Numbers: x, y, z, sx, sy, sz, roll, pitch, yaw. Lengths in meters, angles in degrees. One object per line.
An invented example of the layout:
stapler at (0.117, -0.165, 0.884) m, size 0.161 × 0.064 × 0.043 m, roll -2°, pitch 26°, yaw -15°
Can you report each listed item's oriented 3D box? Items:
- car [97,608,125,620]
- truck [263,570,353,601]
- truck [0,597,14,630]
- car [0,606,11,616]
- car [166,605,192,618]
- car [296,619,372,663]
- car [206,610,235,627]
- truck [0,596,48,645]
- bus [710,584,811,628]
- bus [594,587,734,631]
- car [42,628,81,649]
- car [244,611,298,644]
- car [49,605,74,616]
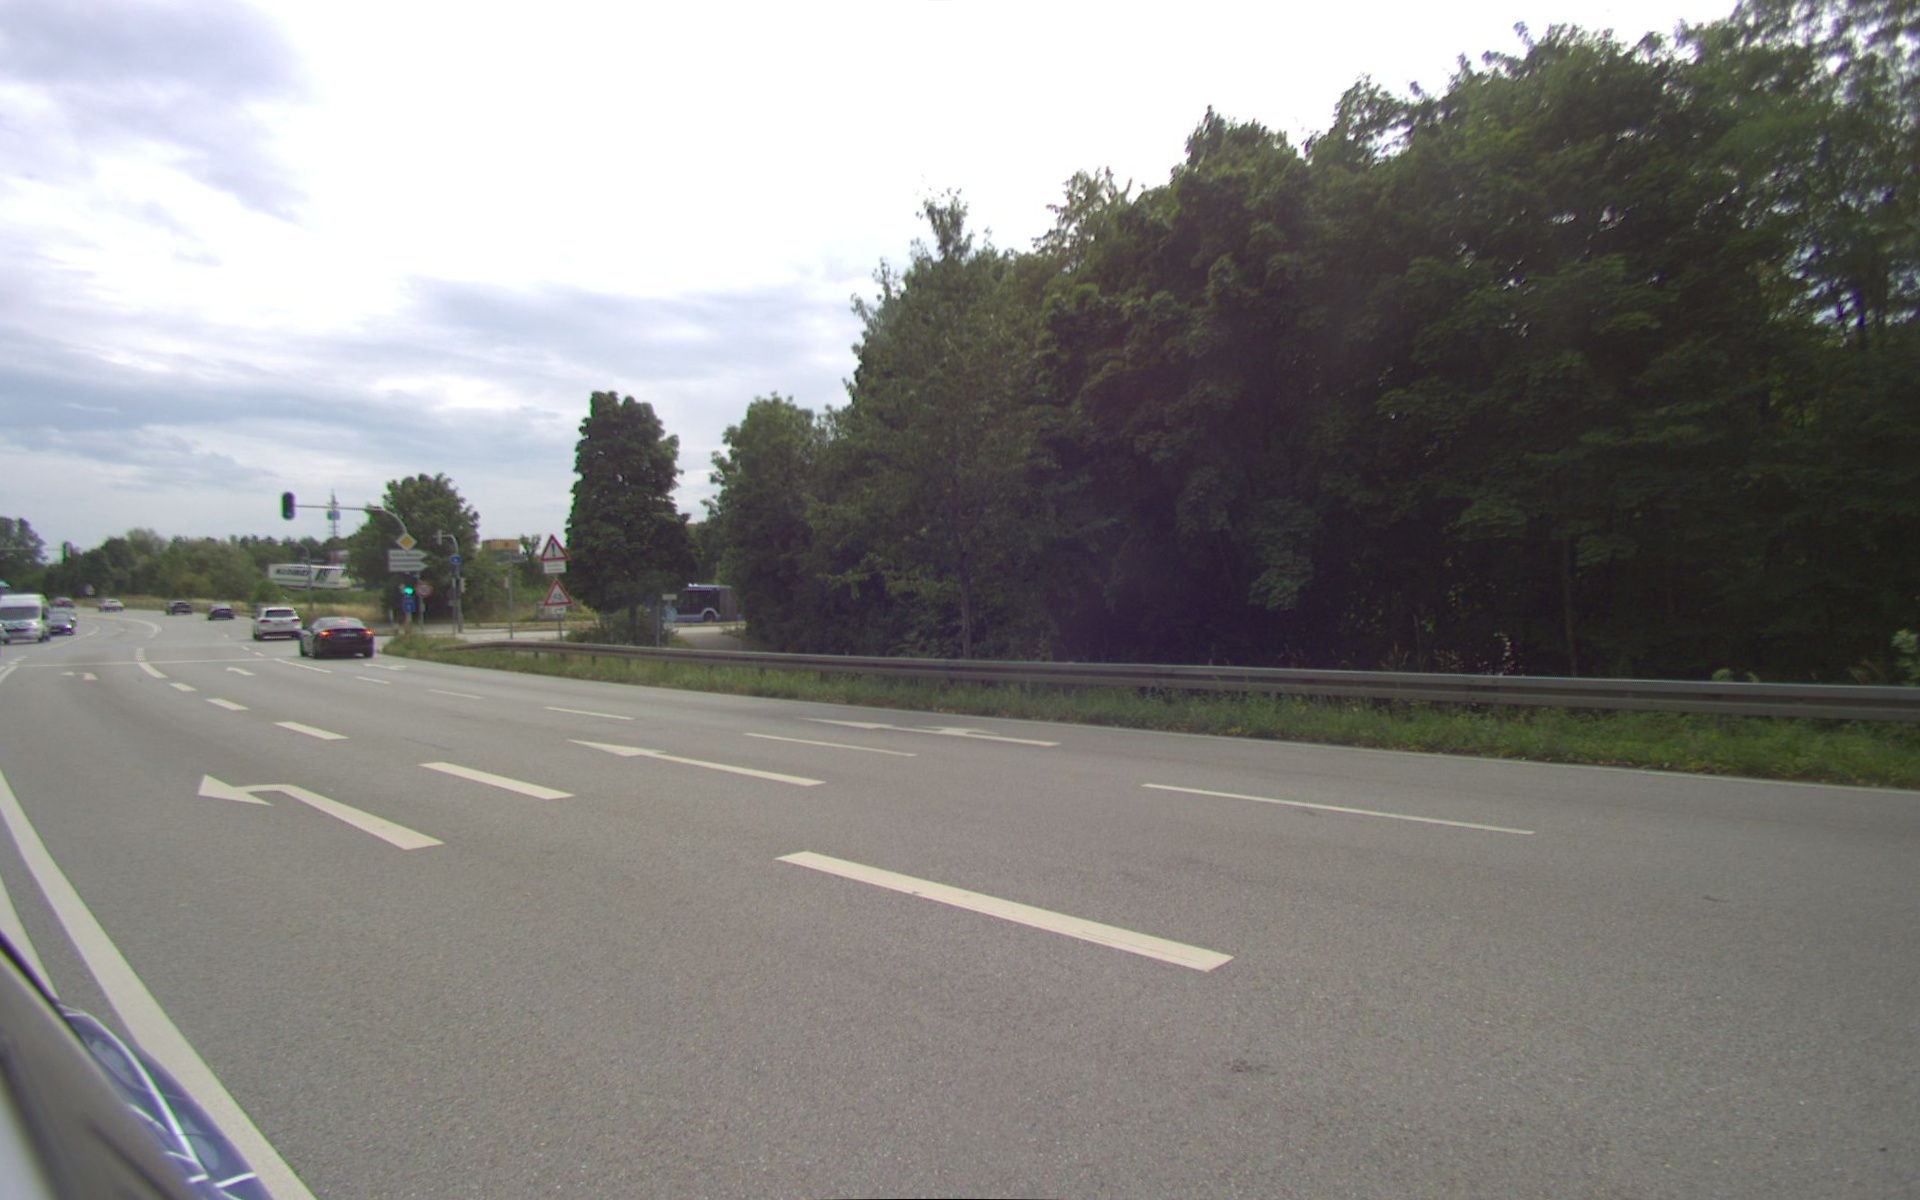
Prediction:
car at (-108.246, 1.813, 129.017) m, size 3.992 × 1.497 × 1.725 m, roll -1°, pitch 2°, yaw 36°
truck at (-107.118, -2.373, 166.286) m, size 14.067 × 4.358 × 3.350 m, roll 3°, pitch 1°, yaw 13°
truck at (-131.085, 1.825, 136.379) m, size 9.540 × 4.383 × 2.996 m, roll -1°, pitch -1°, yaw 32°
car at (-146.184, 1.695, 153.901) m, size 3.987 × 1.395 × 1.727 m, roll 0°, pitch 2°, yaw 32°
car at (-86.562, 1.256, 112.136) m, size 4.001 × 1.396 × 1.720 m, roll 0°, pitch 2°, yaw 44°
car at (-22.943, 1.478, 37.023) m, size 1.696 × 1.509 × 4.555 m, roll 1°, pitch -2°, yaw -40°
car at (-67.220, 1.625, 91.985) m, size 1.719 × 1.497 × 4.205 m, roll 0°, pitch 0°, yaw -43°
truck at (-52.406, 1.114, 56.288) m, size 2.343 × 2.613 × 6.008 m, roll 0°, pitch -1°, yaw -40°
bus at (-16.089, 0.435, 82.067) m, size 3.120 × 3.373 × 7.719 m, roll -1°, pitch 0°, yaw 41°
bus at (-21.834, 0.629, 75.334) m, size 3.120 × 3.069 × 9.937 m, roll -1°, pitch 0°, yaw 41°
car at (-60.513, 2.596, 68.199) m, size 1.718 × 1.335 × 4.007 m, roll 2°, pitch -3°, yaw -39°
car at (-35.919, 1.429, 52.731) m, size 1.835 × 1.656 × 4.744 m, roll 1°, pitch -2°, yaw -40°
car at (-124.974, 1.440, 140.724) m, size 3.991 × 1.395 × 1.725 m, roll 0°, pitch 2°, yaw 35°
